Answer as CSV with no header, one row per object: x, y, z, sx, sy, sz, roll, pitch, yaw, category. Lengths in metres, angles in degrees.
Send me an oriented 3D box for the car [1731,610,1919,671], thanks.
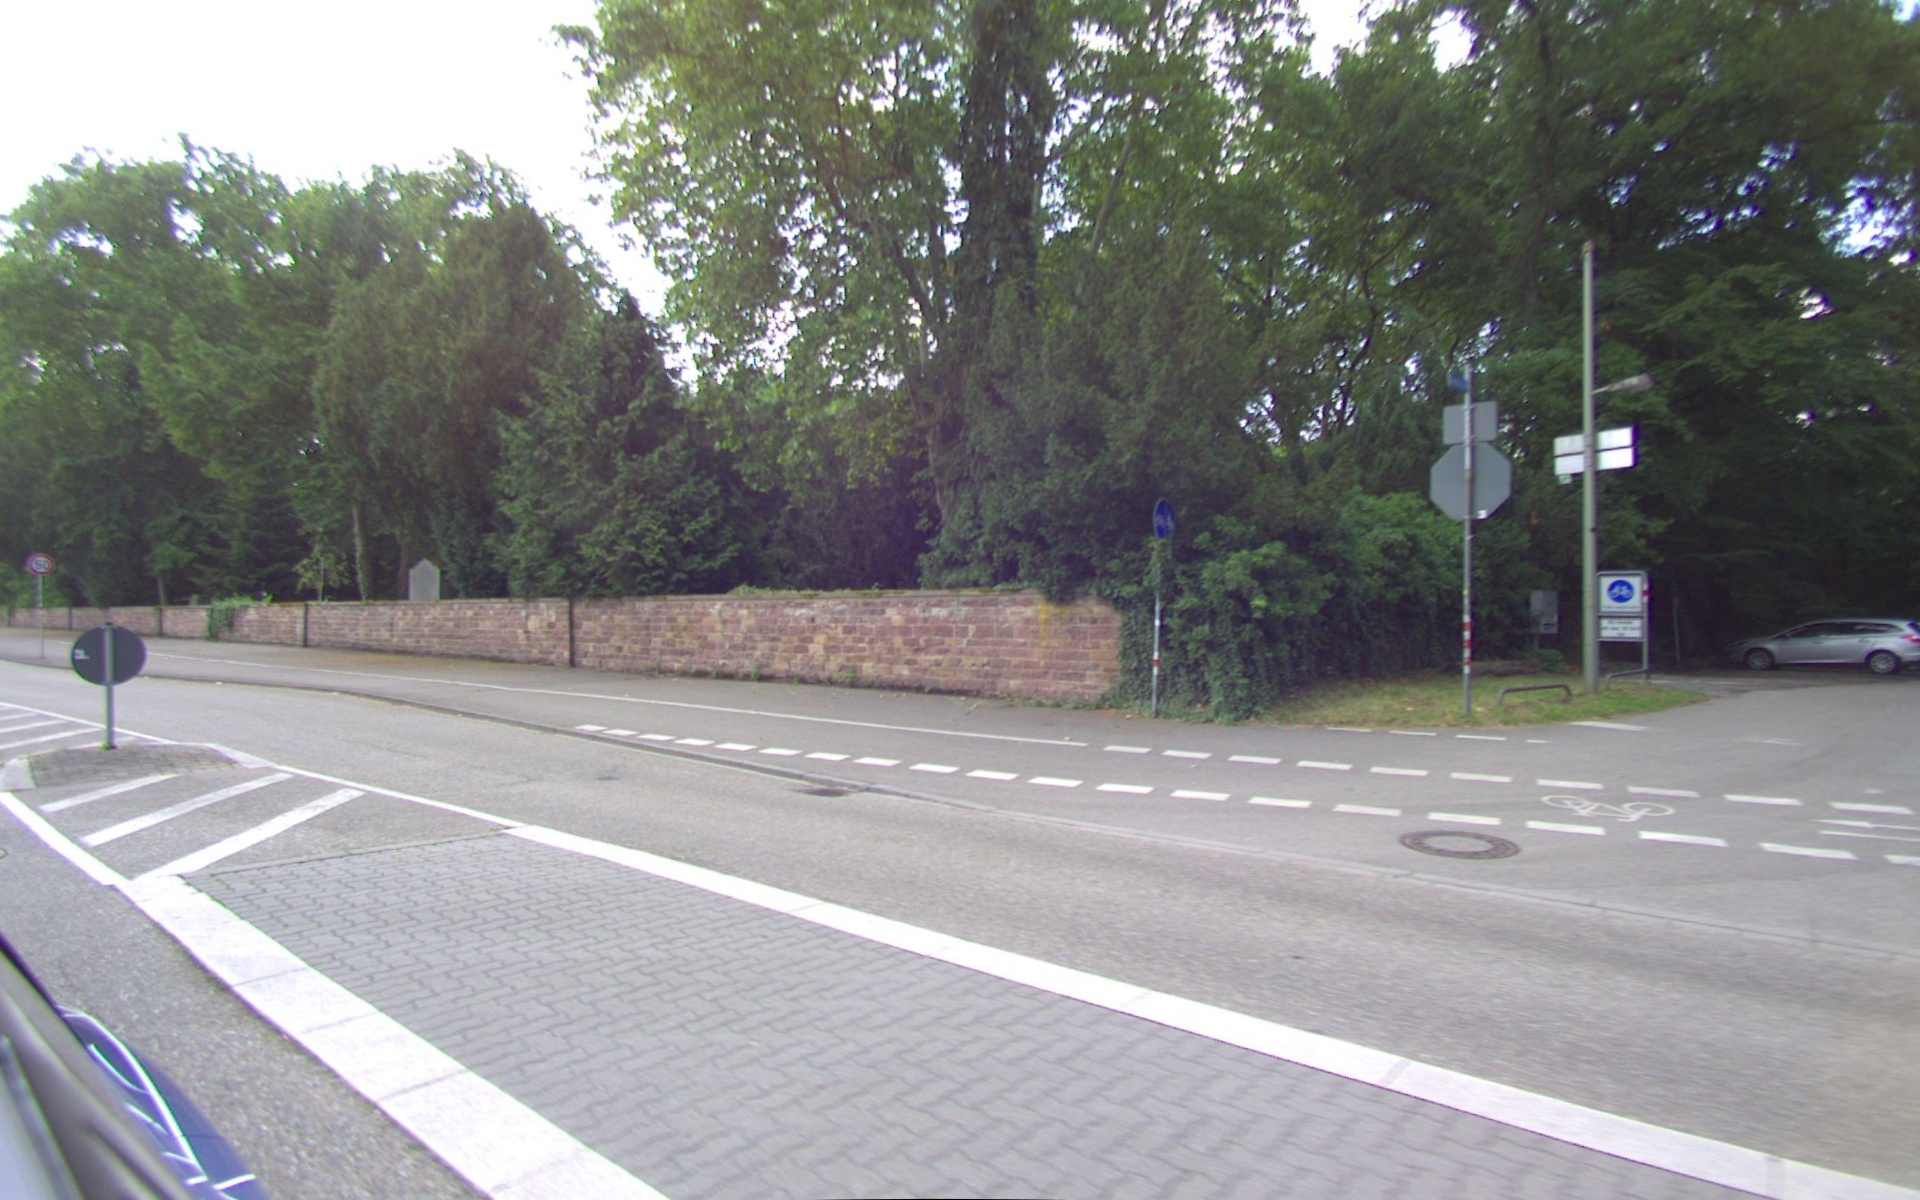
23.928,1.066,27.468,1.901,1.553,4.524,2,-2,-42,car

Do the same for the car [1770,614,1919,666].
28.782,1.250,32.187,1.902,1.553,4.523,2,-2,-43,car
